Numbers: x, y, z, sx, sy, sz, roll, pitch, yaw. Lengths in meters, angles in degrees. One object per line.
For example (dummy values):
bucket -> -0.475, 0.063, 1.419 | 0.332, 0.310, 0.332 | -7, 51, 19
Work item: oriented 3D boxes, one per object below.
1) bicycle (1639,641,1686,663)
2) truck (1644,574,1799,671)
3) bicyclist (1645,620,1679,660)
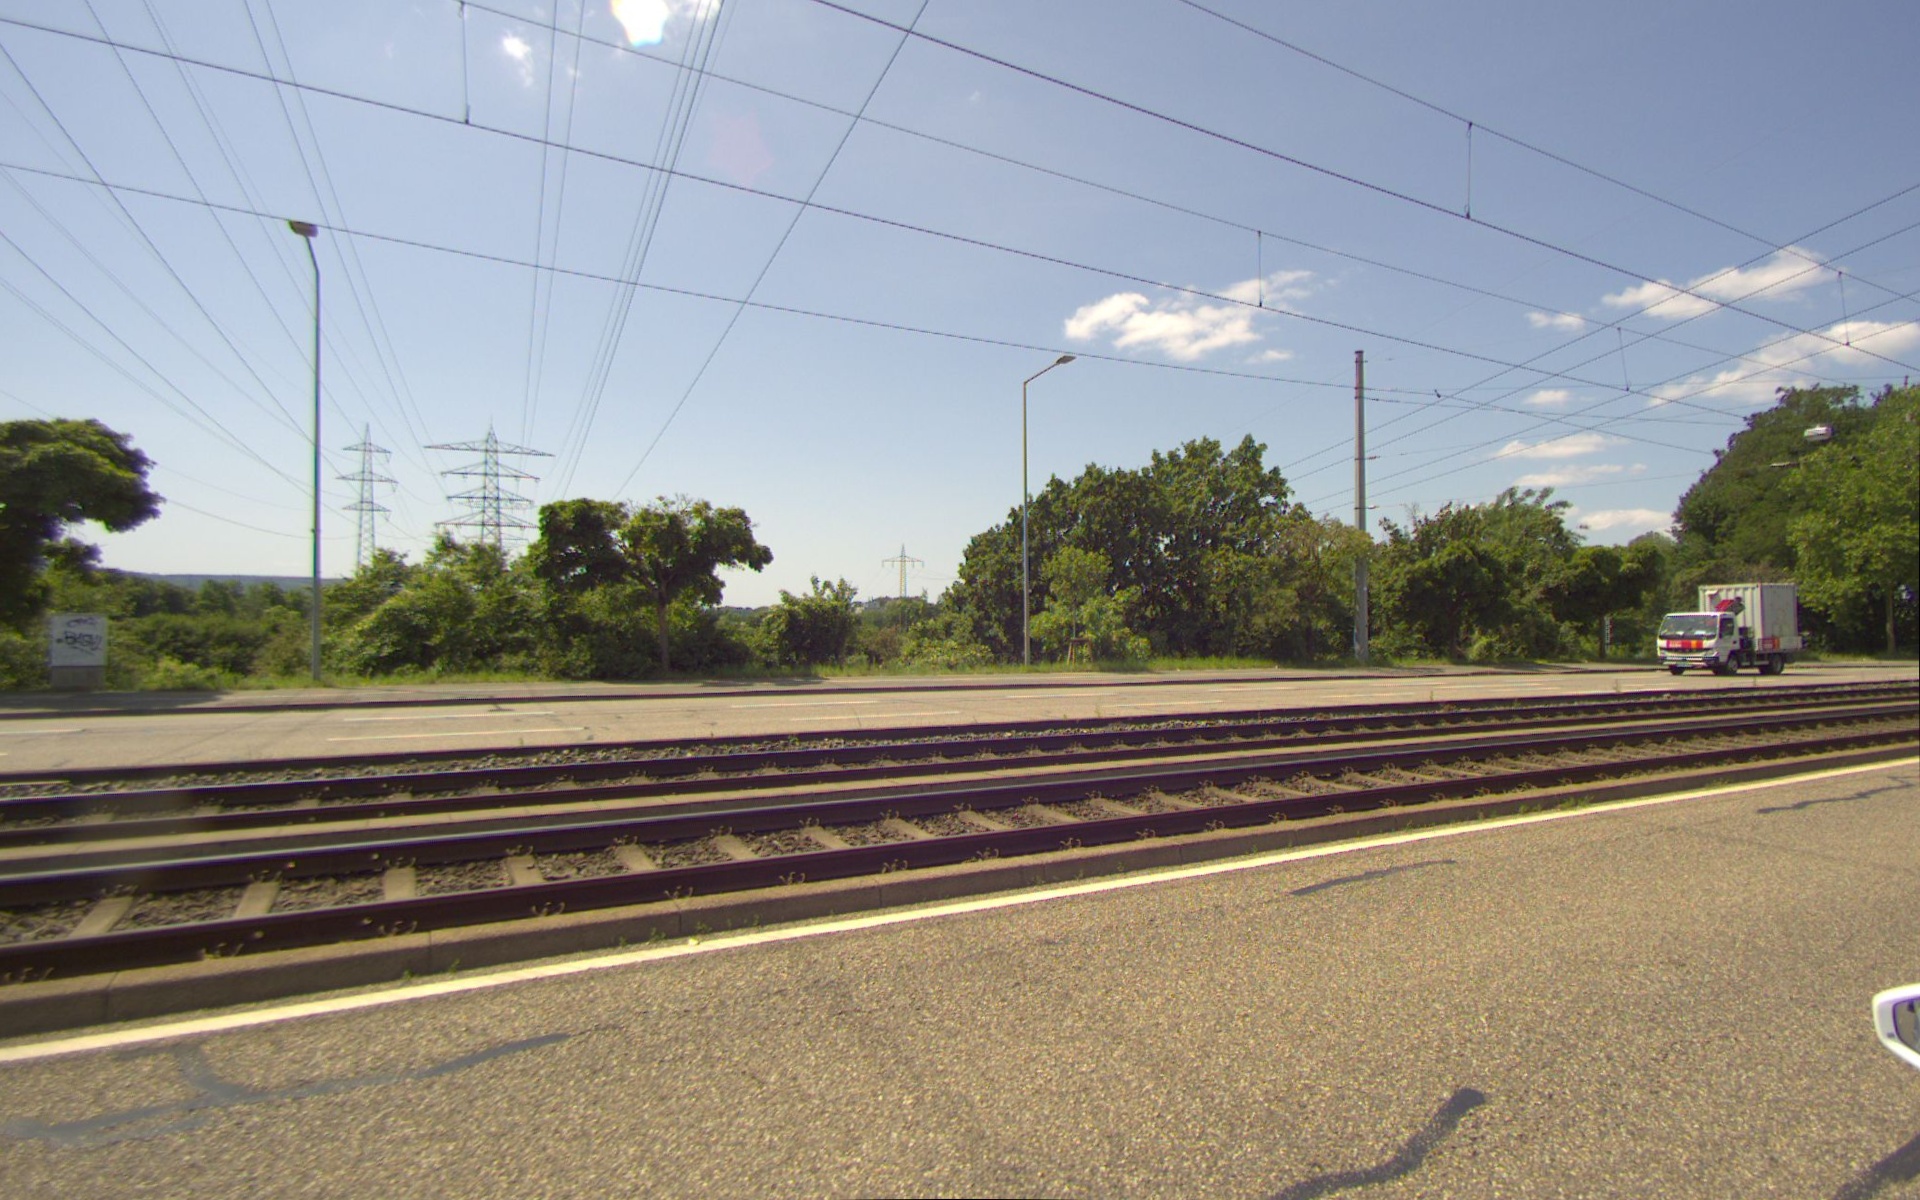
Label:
bicycle -> 29.257, 2.176, 41.832 | 2.092, 0.871, 0.648 | 1, 1, -26
truck -> 27.543, 0.825, 36.278 | 5.967, 3.279, 2.241 | 1, -1, -28
bicyclist -> 29.236, 1.663, 41.808 | 1.140, 1.642, 0.648 | 1, 1, -26
